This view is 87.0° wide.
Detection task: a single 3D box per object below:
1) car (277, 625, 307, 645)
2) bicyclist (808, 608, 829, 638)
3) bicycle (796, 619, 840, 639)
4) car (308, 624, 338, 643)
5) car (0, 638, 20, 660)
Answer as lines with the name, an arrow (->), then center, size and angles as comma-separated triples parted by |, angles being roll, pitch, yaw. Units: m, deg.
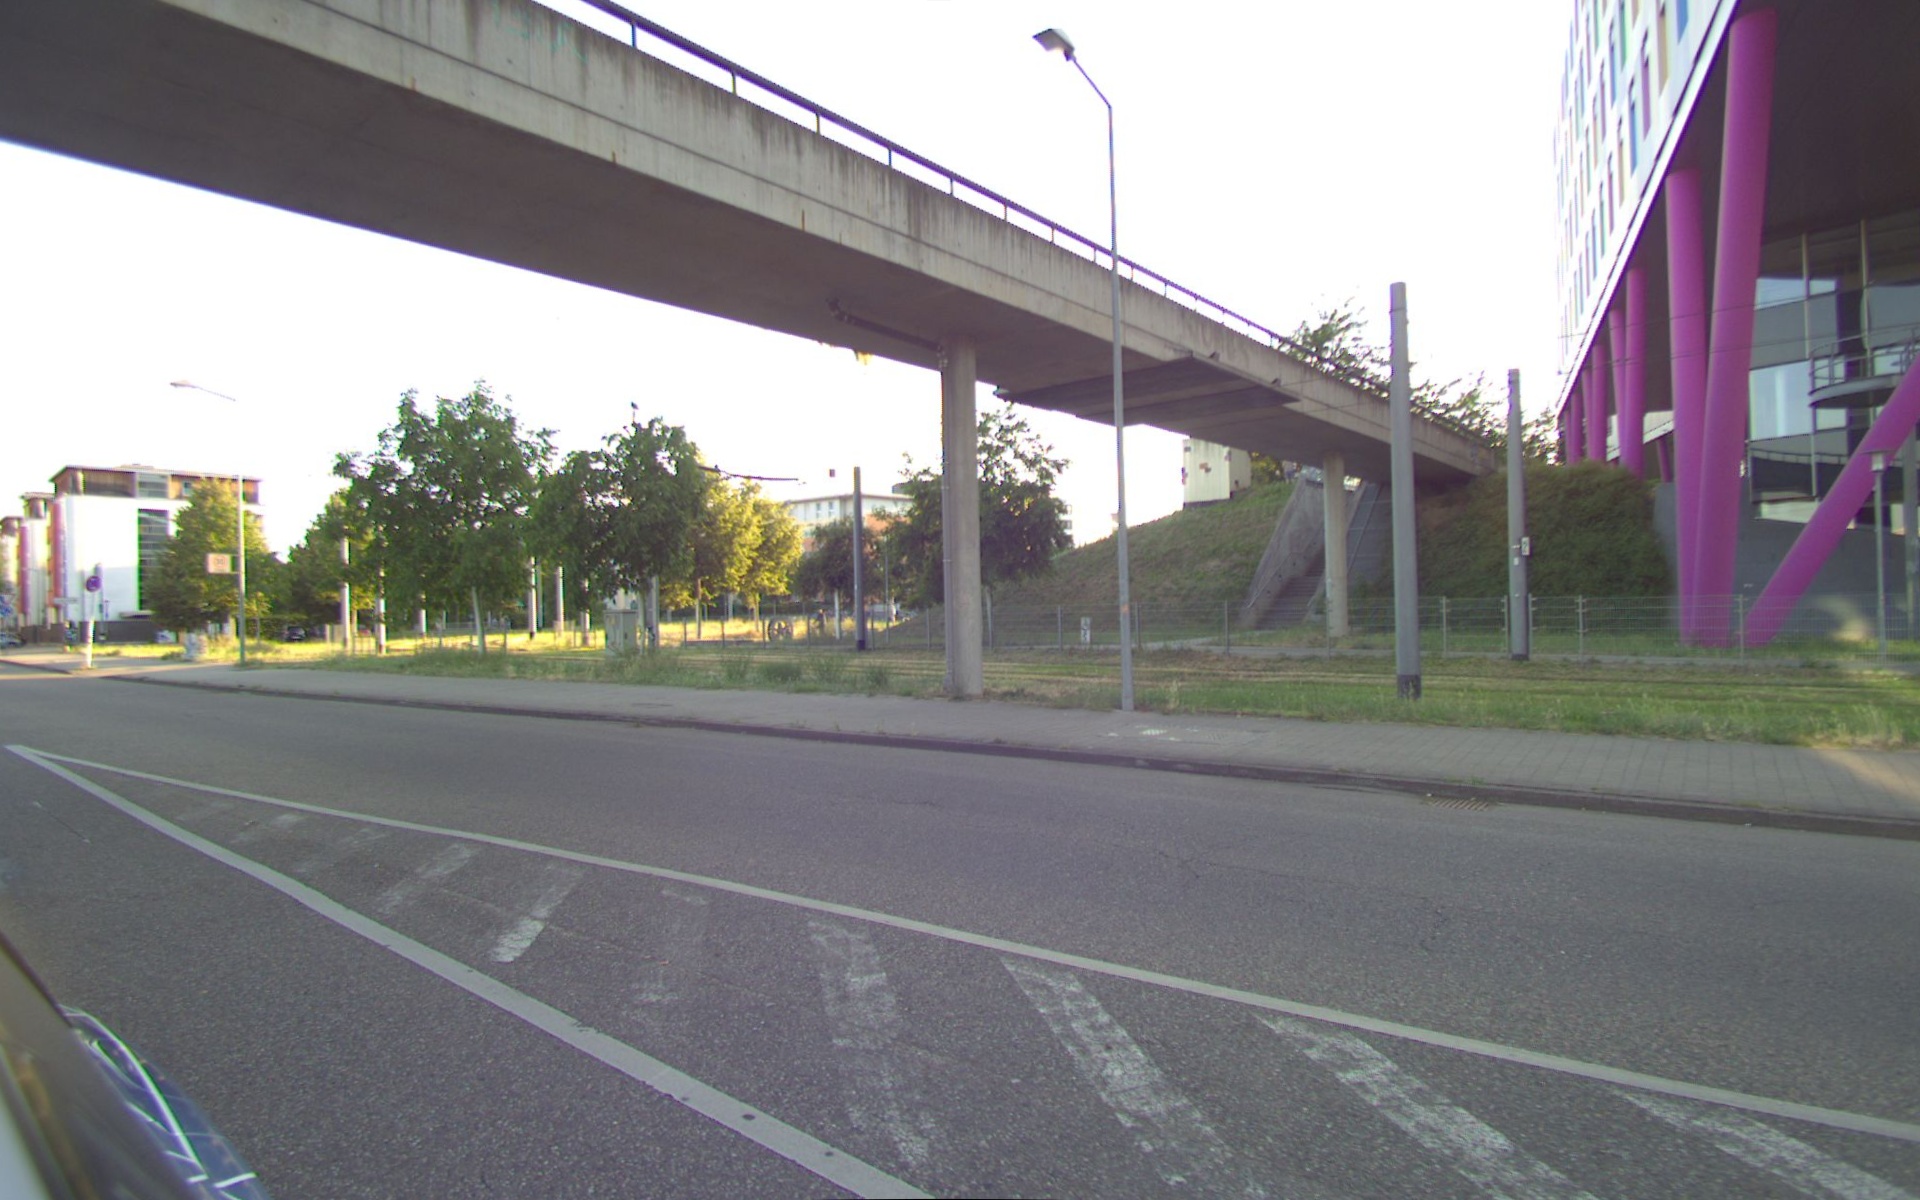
car -> -56.183, 2.922, 85.087 | 1.913, 1.541, 4.009 | -1, -1, -36
bicyclist -> -7.956, 1.279, 56.735 | 0.716, 1.644, 0.899 | -2, -1, 37
bicycle -> -7.924, 1.613, 56.703 | 0.654, 1.016, 2.808 | -2, -1, 36
car -> -54.523, 2.834, 86.625 | 1.913, 1.541, 4.009 | -1, -1, -36
car -> -79.820, 4.078, 82.951 | 2.000, 1.741, 3.944 | -2, -1, 42
